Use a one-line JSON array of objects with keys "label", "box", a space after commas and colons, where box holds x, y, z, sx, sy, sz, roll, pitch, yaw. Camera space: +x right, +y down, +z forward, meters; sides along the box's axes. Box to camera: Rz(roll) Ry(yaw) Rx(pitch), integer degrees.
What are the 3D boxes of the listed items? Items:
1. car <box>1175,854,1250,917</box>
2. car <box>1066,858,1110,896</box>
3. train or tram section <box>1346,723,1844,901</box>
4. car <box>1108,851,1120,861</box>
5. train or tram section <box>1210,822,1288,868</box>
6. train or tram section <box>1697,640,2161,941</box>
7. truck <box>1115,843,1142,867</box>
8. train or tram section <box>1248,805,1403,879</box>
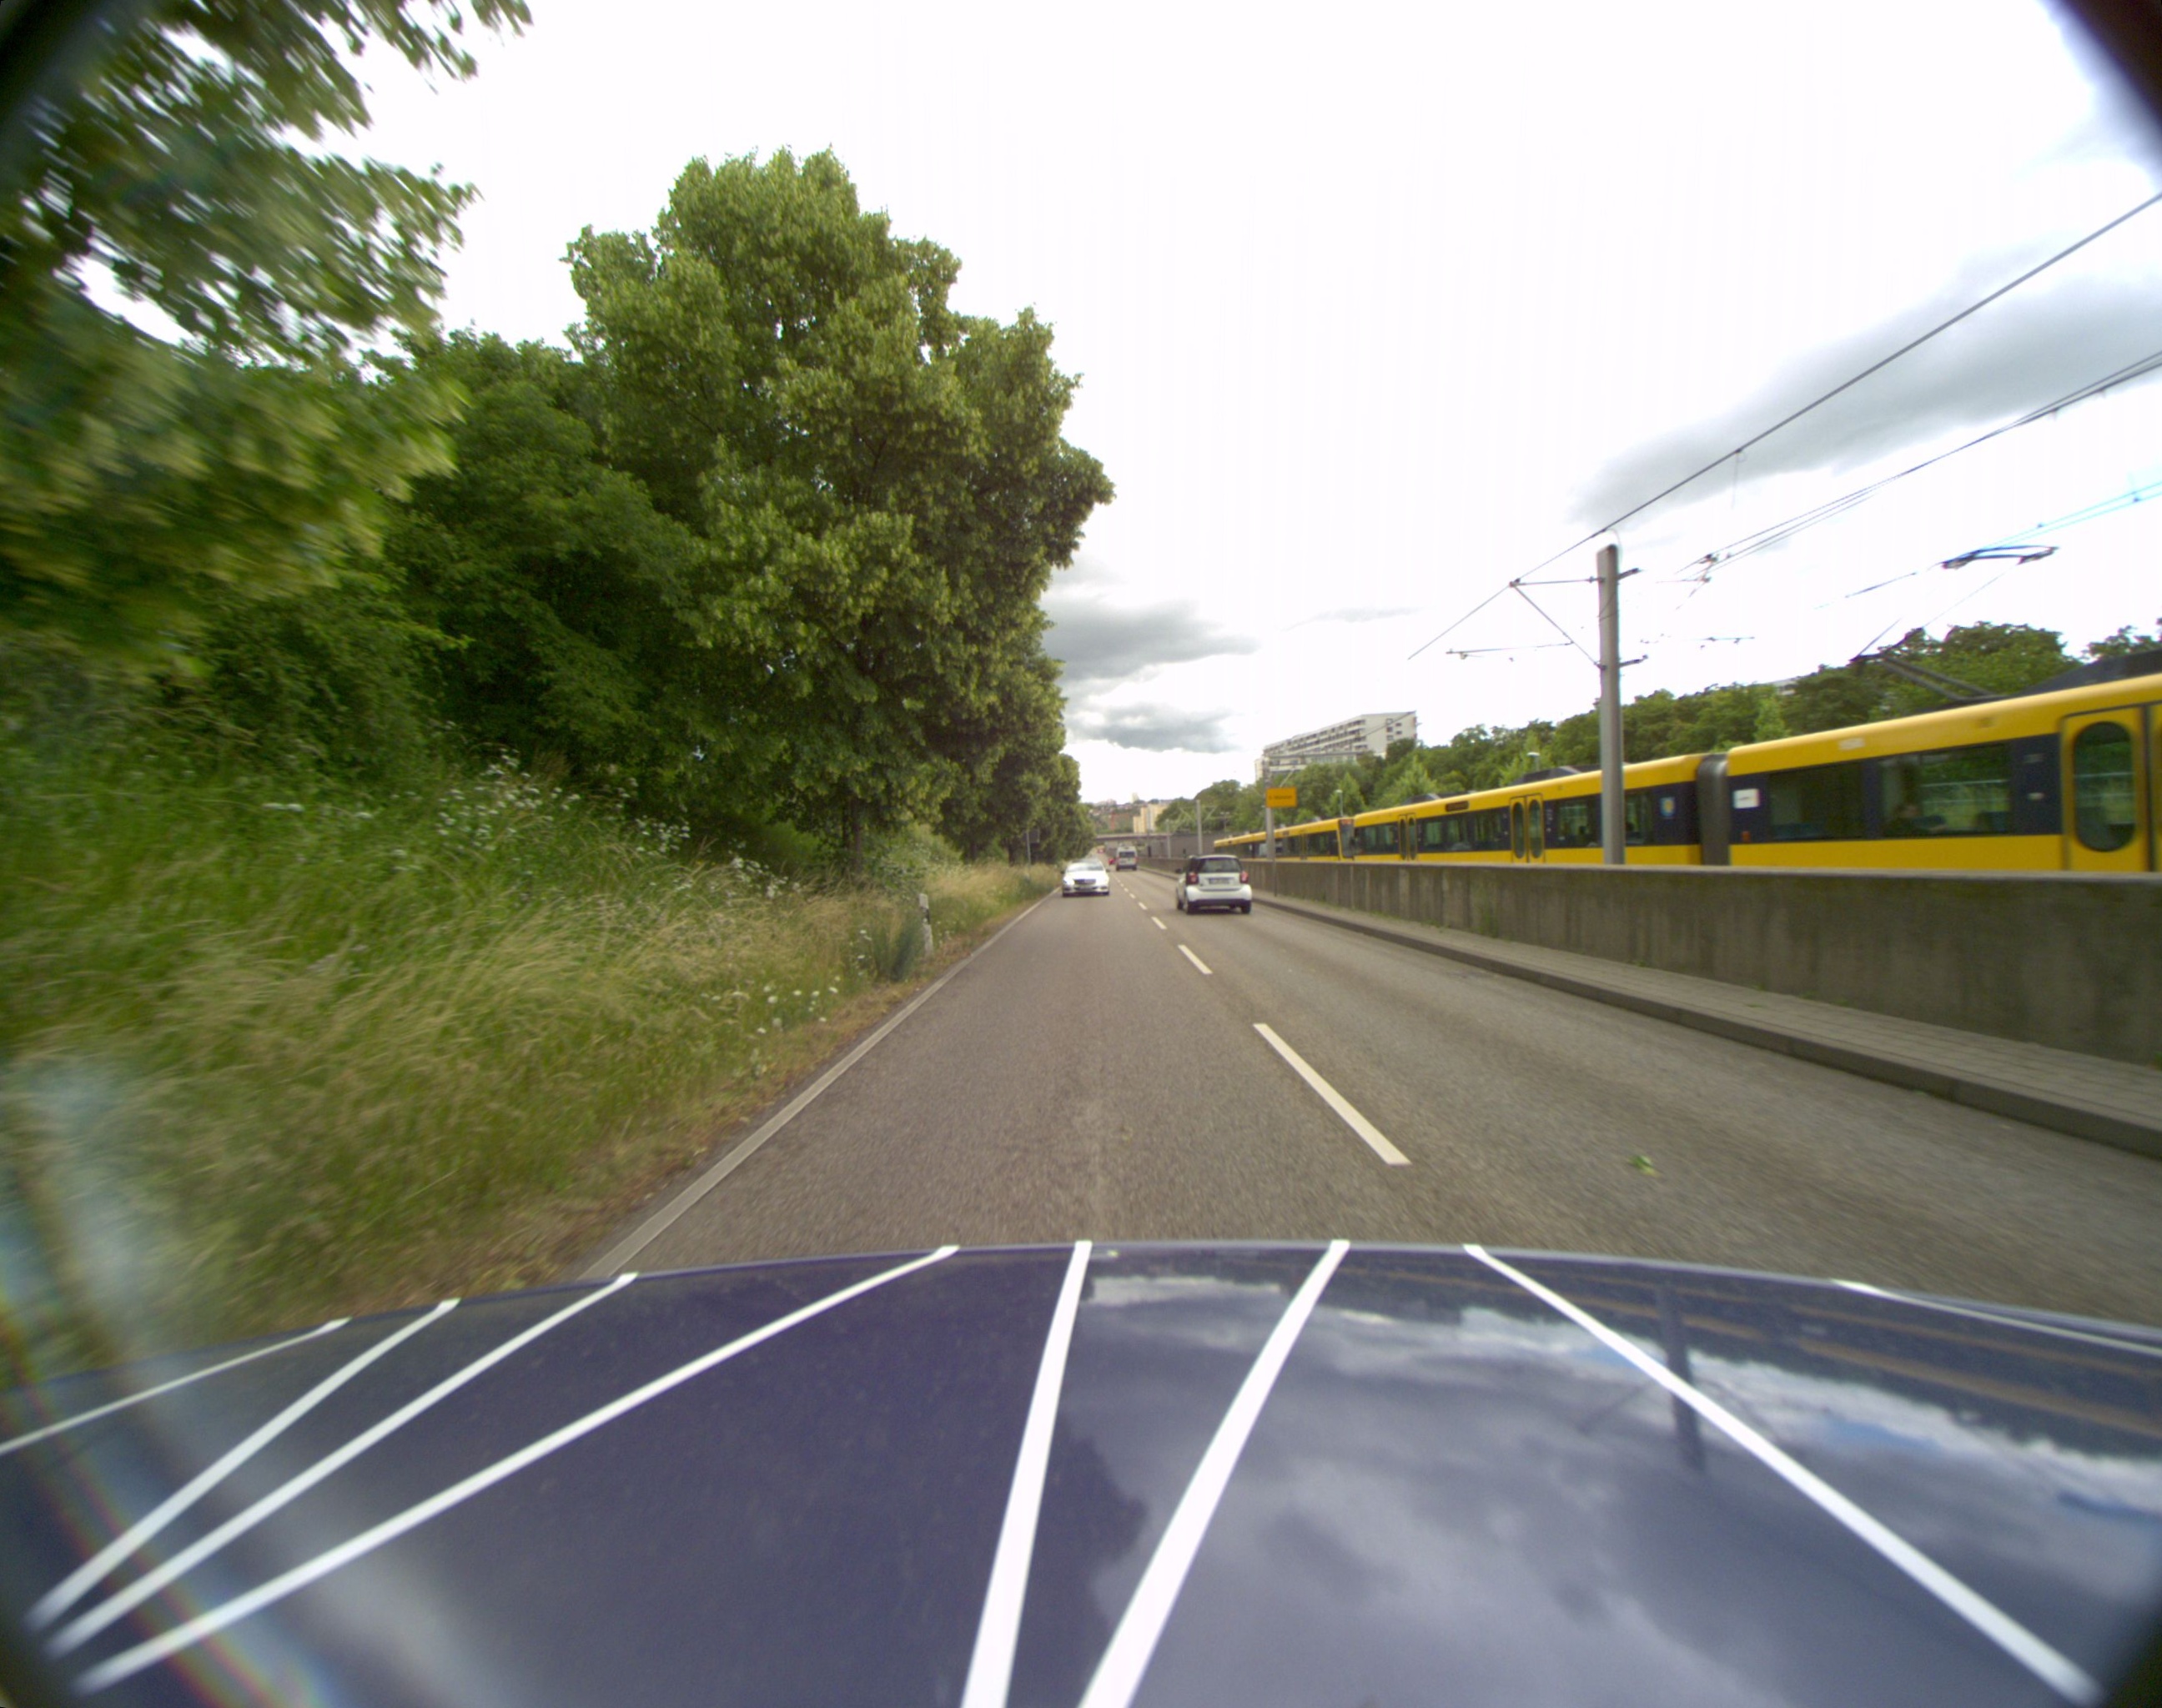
[{"label": "car", "box": [3.441, 0.786, 20.283, 1.598, 1.531, 2.697, -1, 0, 2]}, {"label": "car", "box": [0.333, 0.936, 32.655, 1.739, 1.366, 4.000, -2, 1, 2]}, {"label": "train or tram section", "box": [12.708, -0.891, 23.245, 2.788, 3.175, 18.471, -2, 1, 0]}, {"label": "car", "box": [5.731, 0.286, 132.919, 1.998, 1.630, 4.000, -1, 0, 1]}, {"label": "train or tram section", "box": [13.394, -0.674, 62.502, 2.718, 3.172, 17.566, -2, 0, 1]}, {"label": "train or tram section", "box": [12.898, -0.677, 4.618, 2.788, 3.175, 18.468, -2, 1, -2]}, {"label": "truck", "box": [5.076, 0.064, 82.273, 2.456, 2.412, 8.211, -2, 1, 1]}, {"label": "train or tram section", "box": [13.067, -0.583, 43.708, 2.742, 3.196, 19.915, -2, 0, 1]}]
